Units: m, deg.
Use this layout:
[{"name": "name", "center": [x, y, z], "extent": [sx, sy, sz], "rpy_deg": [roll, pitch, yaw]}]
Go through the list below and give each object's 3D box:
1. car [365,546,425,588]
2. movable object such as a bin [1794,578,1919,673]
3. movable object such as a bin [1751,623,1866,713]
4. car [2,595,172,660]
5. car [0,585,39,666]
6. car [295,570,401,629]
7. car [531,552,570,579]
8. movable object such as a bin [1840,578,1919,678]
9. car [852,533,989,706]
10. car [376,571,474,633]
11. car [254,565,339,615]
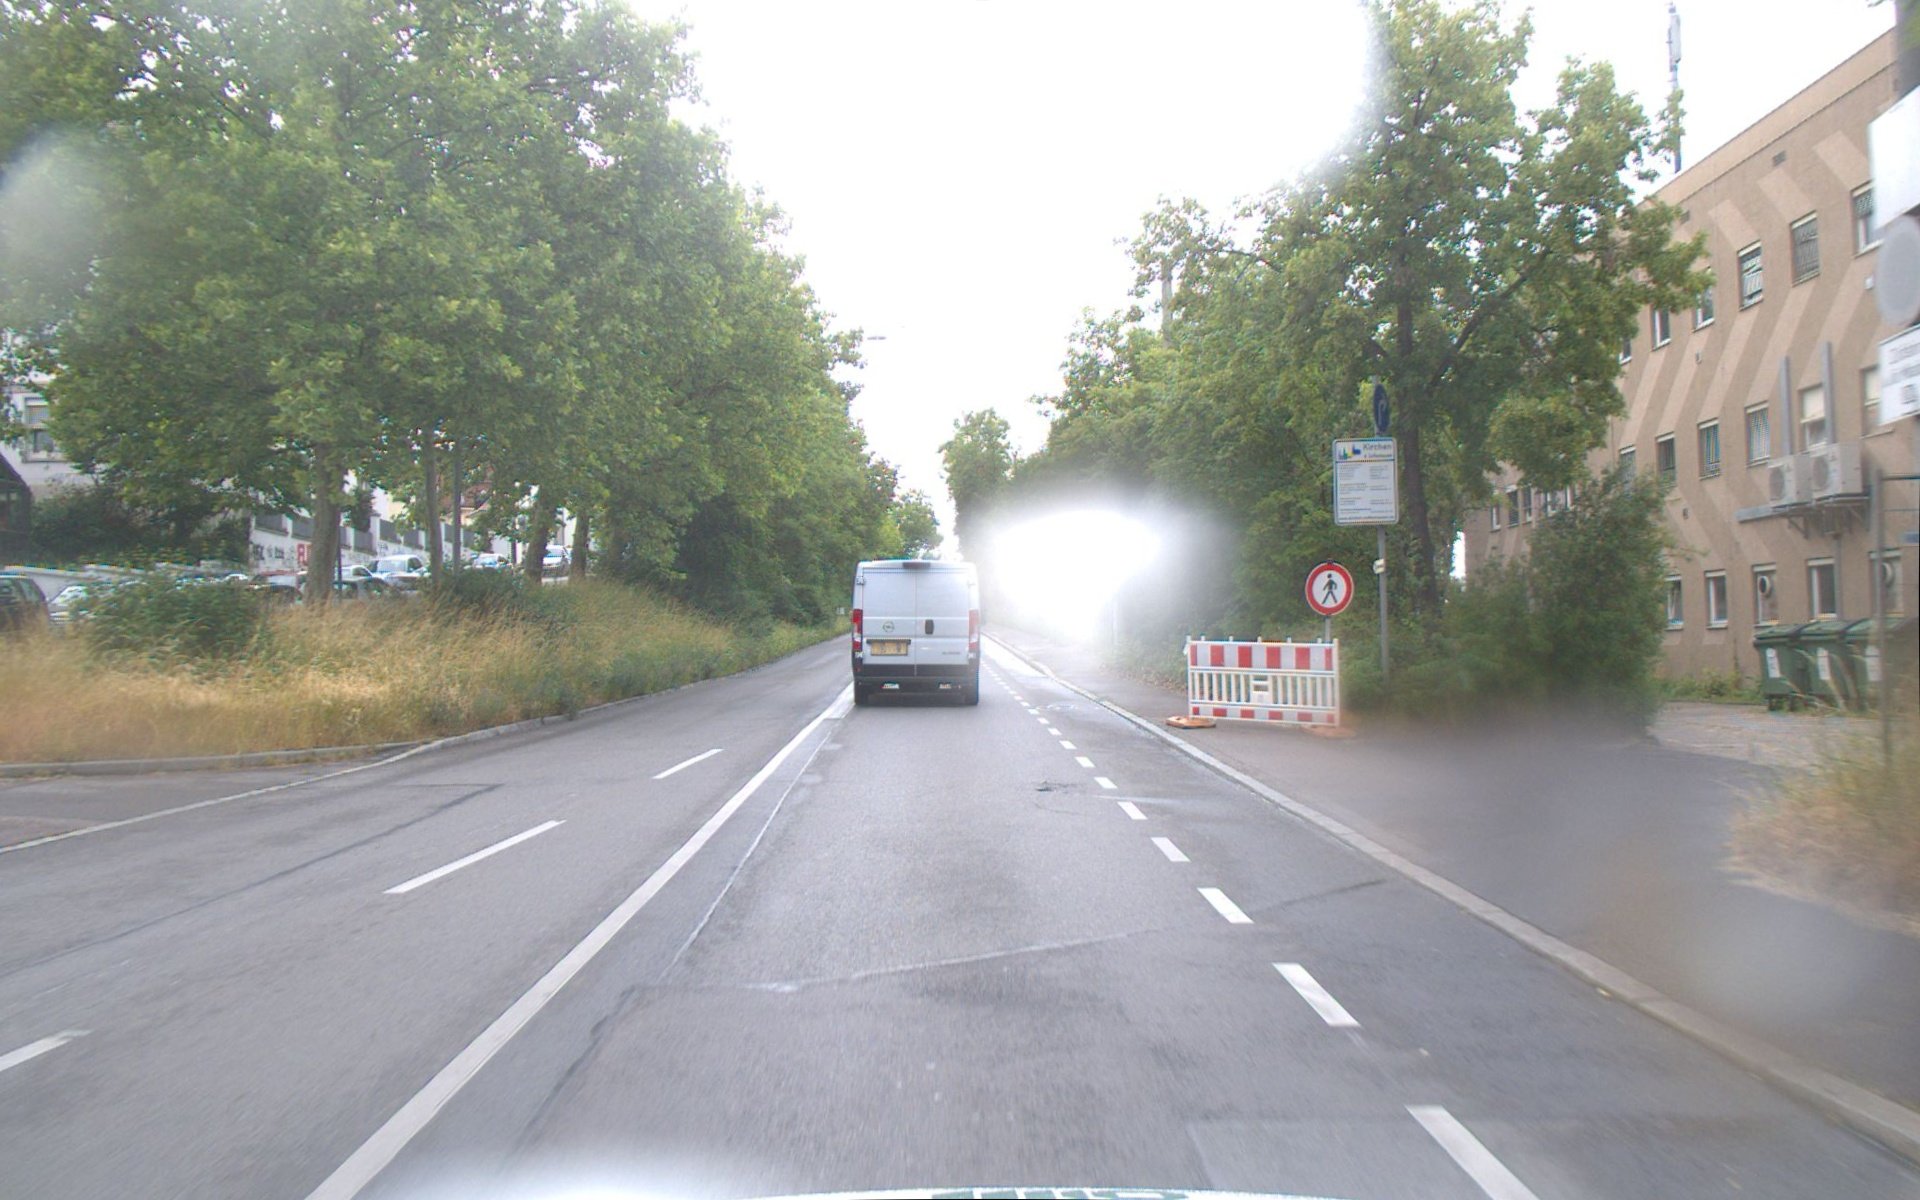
[{"name": "car", "center": [-20.720, -1.194, 60.721], "extent": [1.355, 1.321, 3.012], "rpy_deg": [-1, -2, -4]}, {"name": "movable object such as a bin", "center": [14.316, 0.391, 26.389], "extent": [1.278, 1.441, 1.431], "rpy_deg": [-2, 0, 1]}, {"name": "movable object such as a bin", "center": [14.363, 1.138, 28.044], "extent": [1.245, 1.441, 1.357], "rpy_deg": [-2, 0, 1]}, {"name": "car", "center": [-19.324, 0.648, 36.807], "extent": [1.779, 1.313, 4.118], "rpy_deg": [-1, -2, -3]}, {"name": "car", "center": [-18.812, 0.480, 30.715], "extent": [1.616, 1.513, 3.514], "rpy_deg": [-1, -2, -3]}, {"name": "car", "center": [-12.777, 0.017, 34.649], "extent": [1.323, 1.115, 2.750], "rpy_deg": [-1, -2, -3]}, {"name": "car", "center": [-22.268, -1.867, 89.985], "extent": [1.568, 1.272, 2.908], "rpy_deg": [-1, -2, -4]}, {"name": "movable object such as a bin", "center": [14.242, 0.394, 24.843], "extent": [1.278, 1.441, 1.419], "rpy_deg": [-2, 0, 1]}, {"name": "car", "center": [-0.628, 0.282, 27.658], "extent": [2.008, 2.560, 4.943], "rpy_deg": [2, 0, -1]}, {"name": "car", "center": [-13.011, 0.080, 40.367], "extent": [1.406, 1.385, 3.173], "rpy_deg": [-1, -2, -2]}, {"name": "car", "center": [-19.669, -0.278, 49.130], "extent": [1.332, 1.333, 3.085], "rpy_deg": [-2, -2, -1]}]
